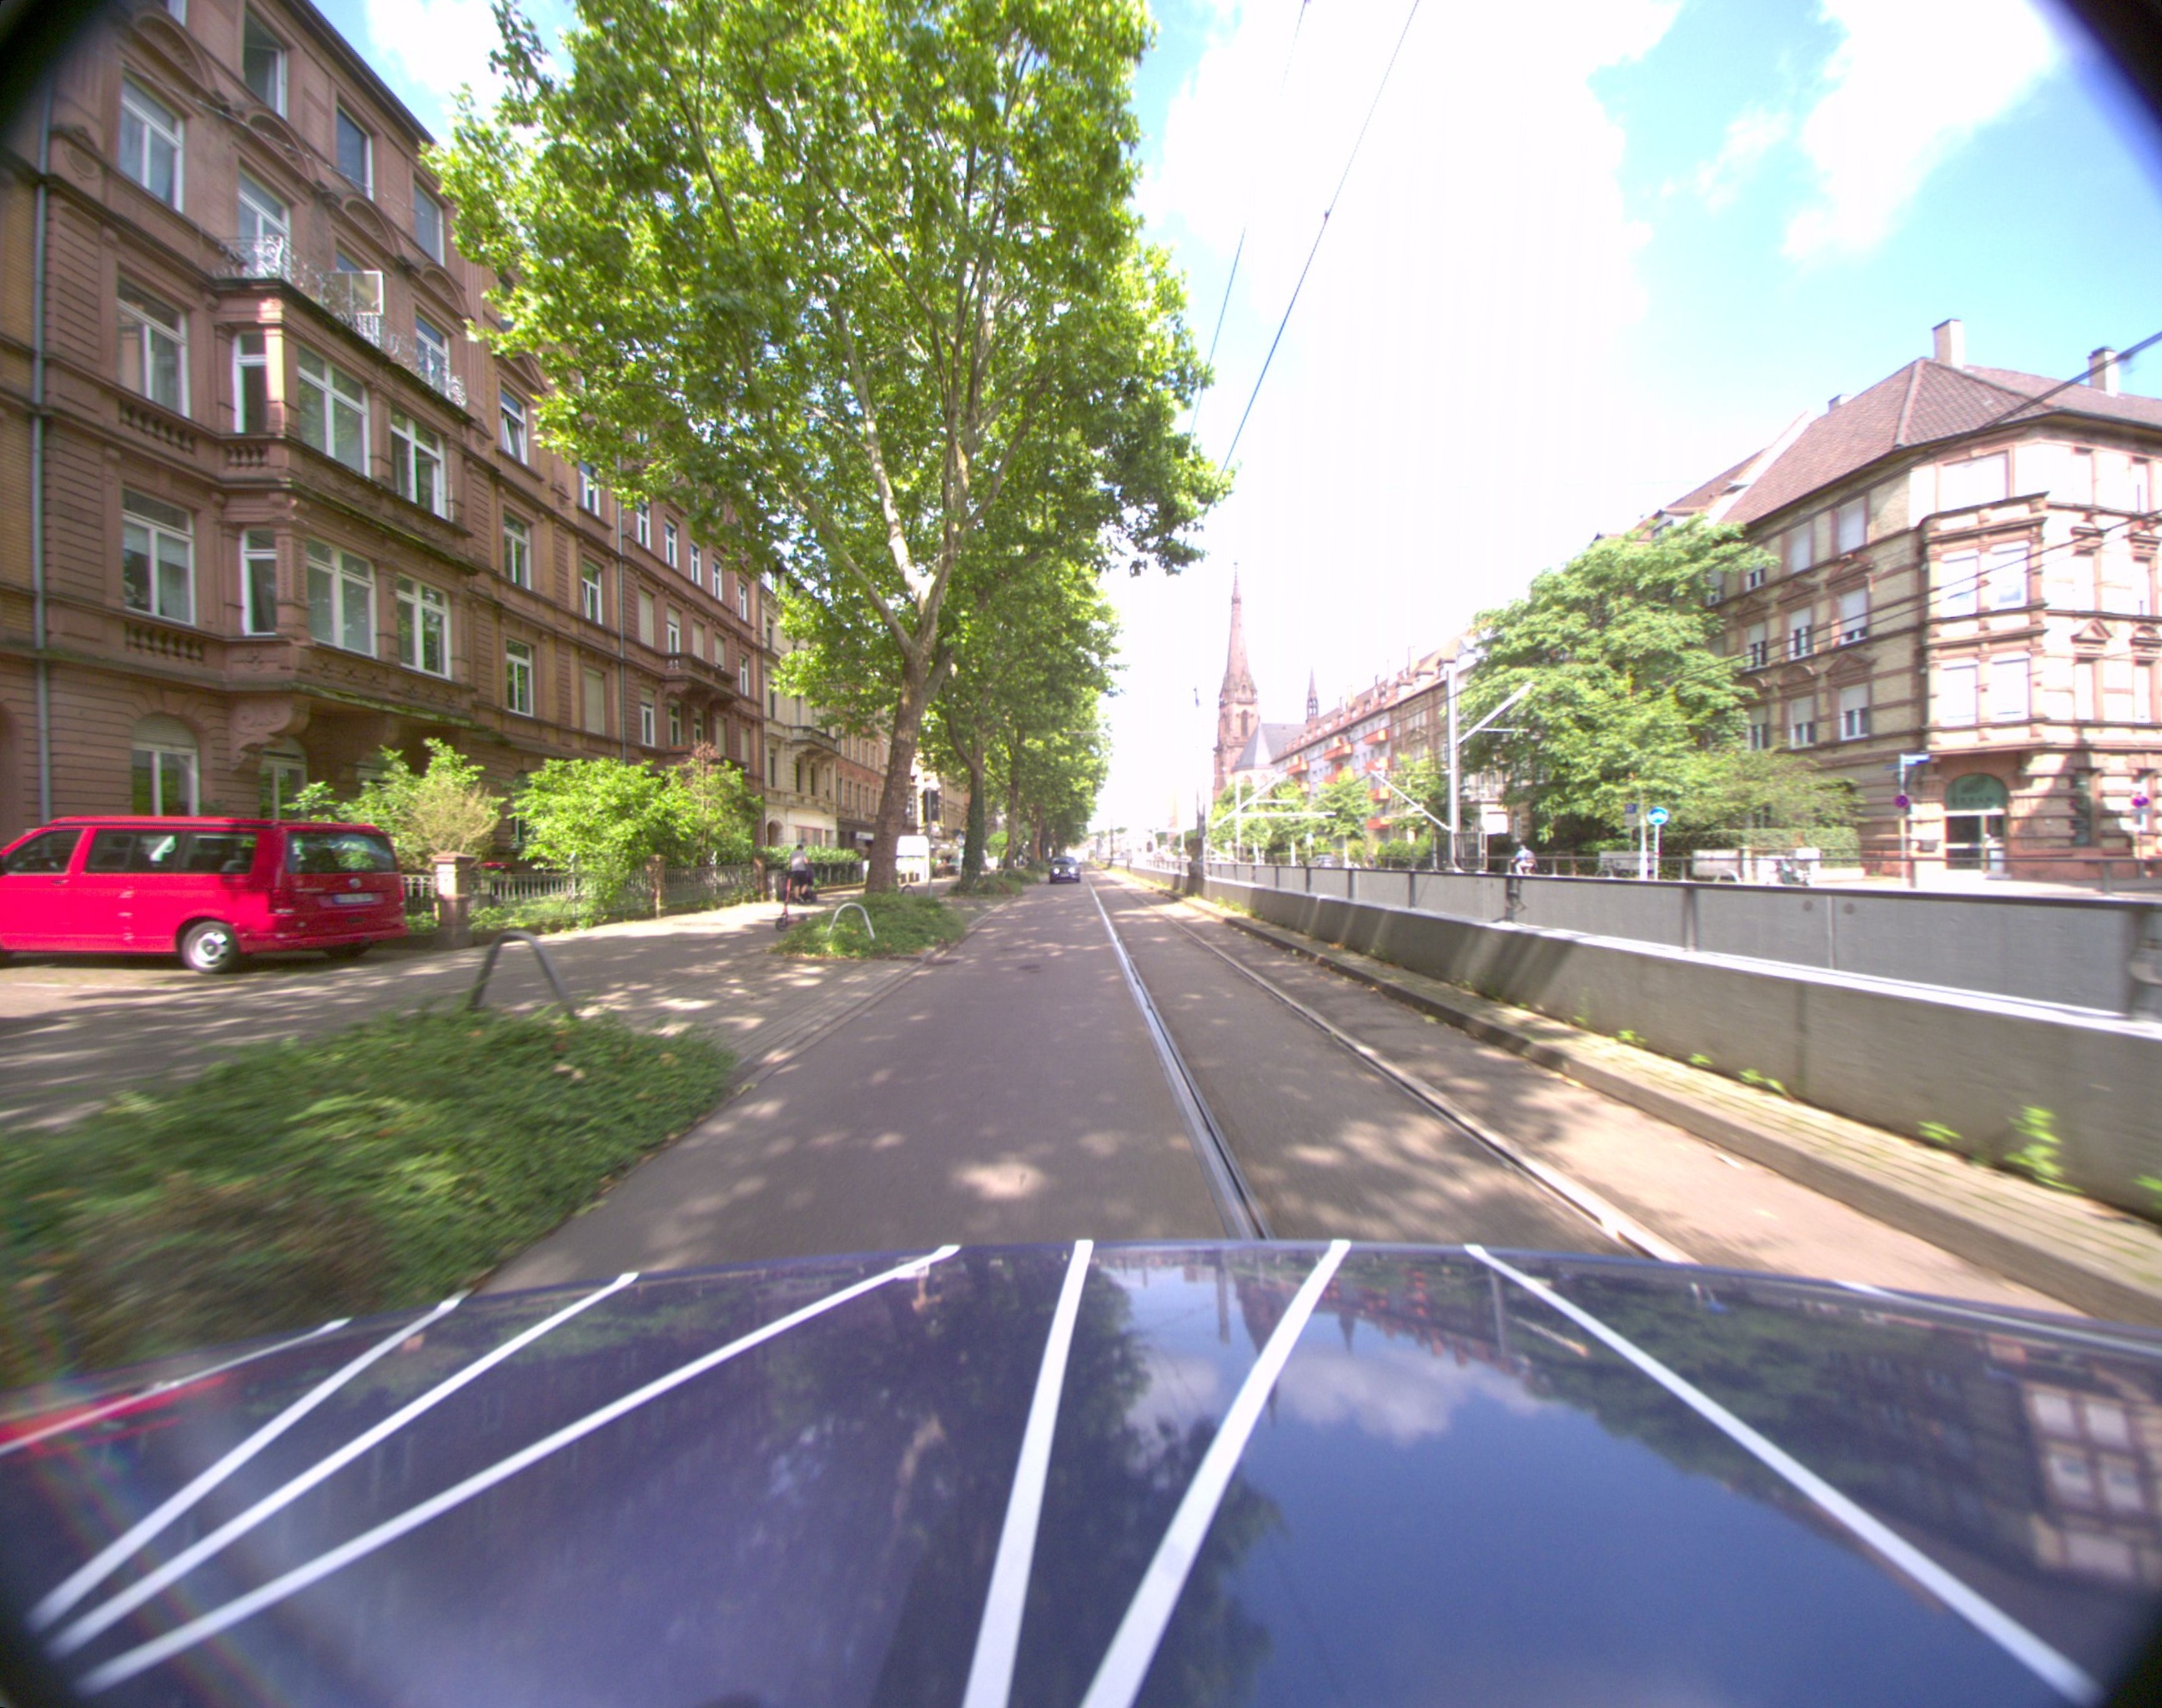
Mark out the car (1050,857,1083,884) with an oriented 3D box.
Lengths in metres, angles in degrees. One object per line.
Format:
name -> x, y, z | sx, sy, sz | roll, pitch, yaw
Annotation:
car -> -0.835, 0.931, 45.569 | 1.800, 1.454, 4.567 | -1, 0, 1

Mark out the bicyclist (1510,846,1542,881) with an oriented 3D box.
bicyclist -> 18.854, 0.407, 32.221 | 0.740, 1.470, 0.978 | 1, 0, 0

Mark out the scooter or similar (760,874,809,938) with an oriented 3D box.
scooter or similar -> -5.996, 1.019, 15.432 | 0.468, 1.204, 1.323 | -1, 0, 0

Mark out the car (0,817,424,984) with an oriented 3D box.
car -> -11.973, 0.557, 10.276 | 4.407, 1.927, 1.983 | 2, 0, 0

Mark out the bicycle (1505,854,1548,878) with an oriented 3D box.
bicycle -> 18.901, 0.482, 32.283 | 0.727, 0.990, 1.898 | 1, 0, 0

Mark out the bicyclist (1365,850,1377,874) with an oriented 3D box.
bicyclist -> 18.984, 0.507, 49.773 | 0.505, 1.535, 0.607 | 1, 1, 0

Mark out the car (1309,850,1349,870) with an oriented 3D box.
car -> 21.110, 0.457, 64.830 | 1.999, 1.628, 4.113 | -1, 0, 0

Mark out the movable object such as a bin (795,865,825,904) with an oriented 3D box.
movable object such as a bin -> -8.636, 0.969, 24.241 | 0.609, 1.202, 1.058 | 1, 0, -5

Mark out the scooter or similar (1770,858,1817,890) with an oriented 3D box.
scooter or similar -> 24.964, 0.691, 26.651 | 0.377, 1.076, 1.288 | -3, 0, 0

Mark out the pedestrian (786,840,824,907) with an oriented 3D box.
pedestrian -> -8.547, 0.589, 23.559 | 0.766, 2.002, 1.119 | 2, 0, -5

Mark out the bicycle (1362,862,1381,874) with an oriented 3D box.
bicycle -> 18.993, 0.915, 49.680 | 0.497, 0.764, 1.816 | 1, 0, 0
